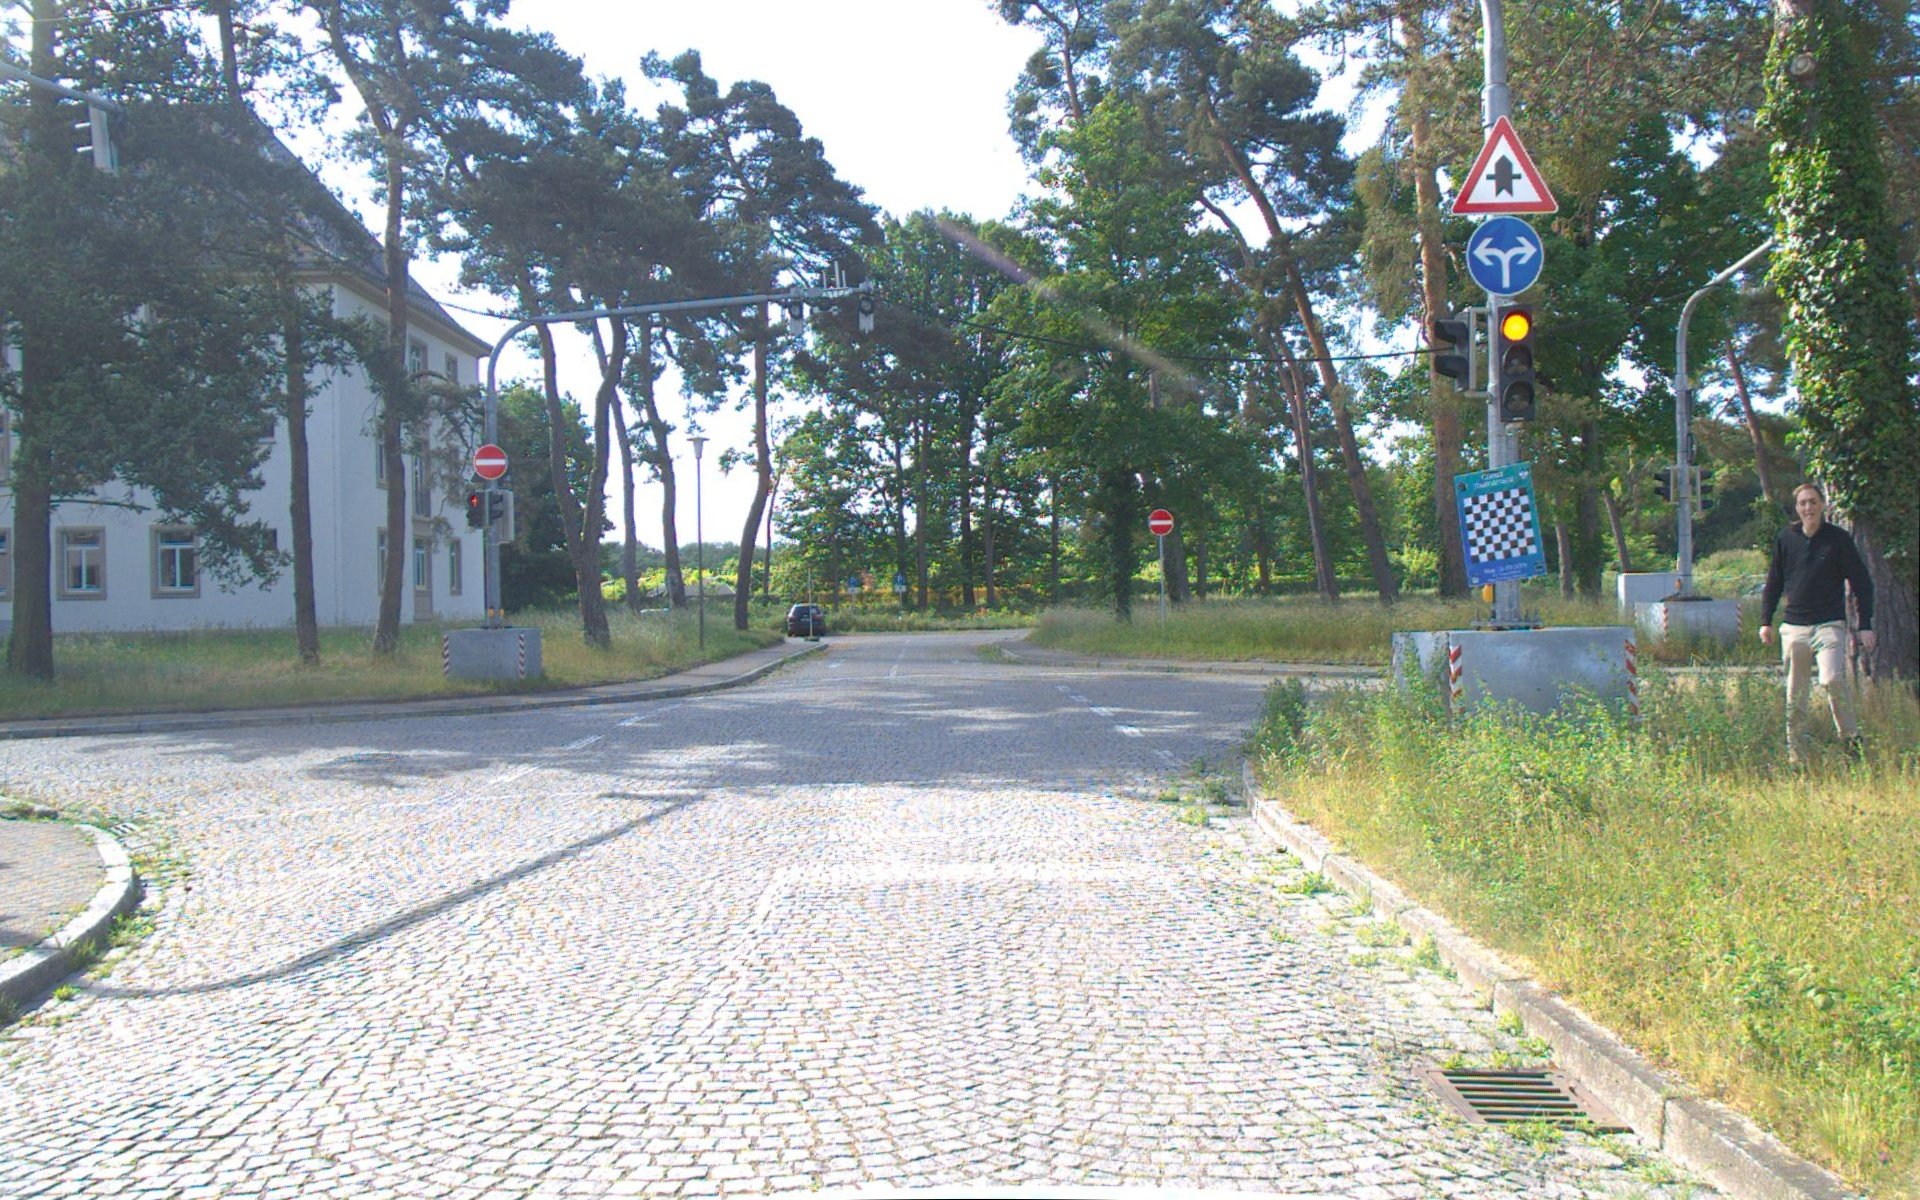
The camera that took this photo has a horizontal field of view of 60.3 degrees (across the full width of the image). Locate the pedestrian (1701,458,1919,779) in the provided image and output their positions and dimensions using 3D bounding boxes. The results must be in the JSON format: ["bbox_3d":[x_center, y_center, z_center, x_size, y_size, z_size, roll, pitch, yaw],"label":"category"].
[{"bbox_3d":[5.270,0.109,10.163,1.147,1.827,1.060,-2,0,31],"label":"pedestrian"}]

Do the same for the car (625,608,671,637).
[{"bbox_3d":[-15.216,1.078,80.816,1.676,1.296,3.916,-2,0,-4],"label":"car"}]

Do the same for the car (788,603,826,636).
[{"bbox_3d":[-7.426,0.935,80.290,1.676,1.522,3.916,-2,0,-4],"label":"car"}]
